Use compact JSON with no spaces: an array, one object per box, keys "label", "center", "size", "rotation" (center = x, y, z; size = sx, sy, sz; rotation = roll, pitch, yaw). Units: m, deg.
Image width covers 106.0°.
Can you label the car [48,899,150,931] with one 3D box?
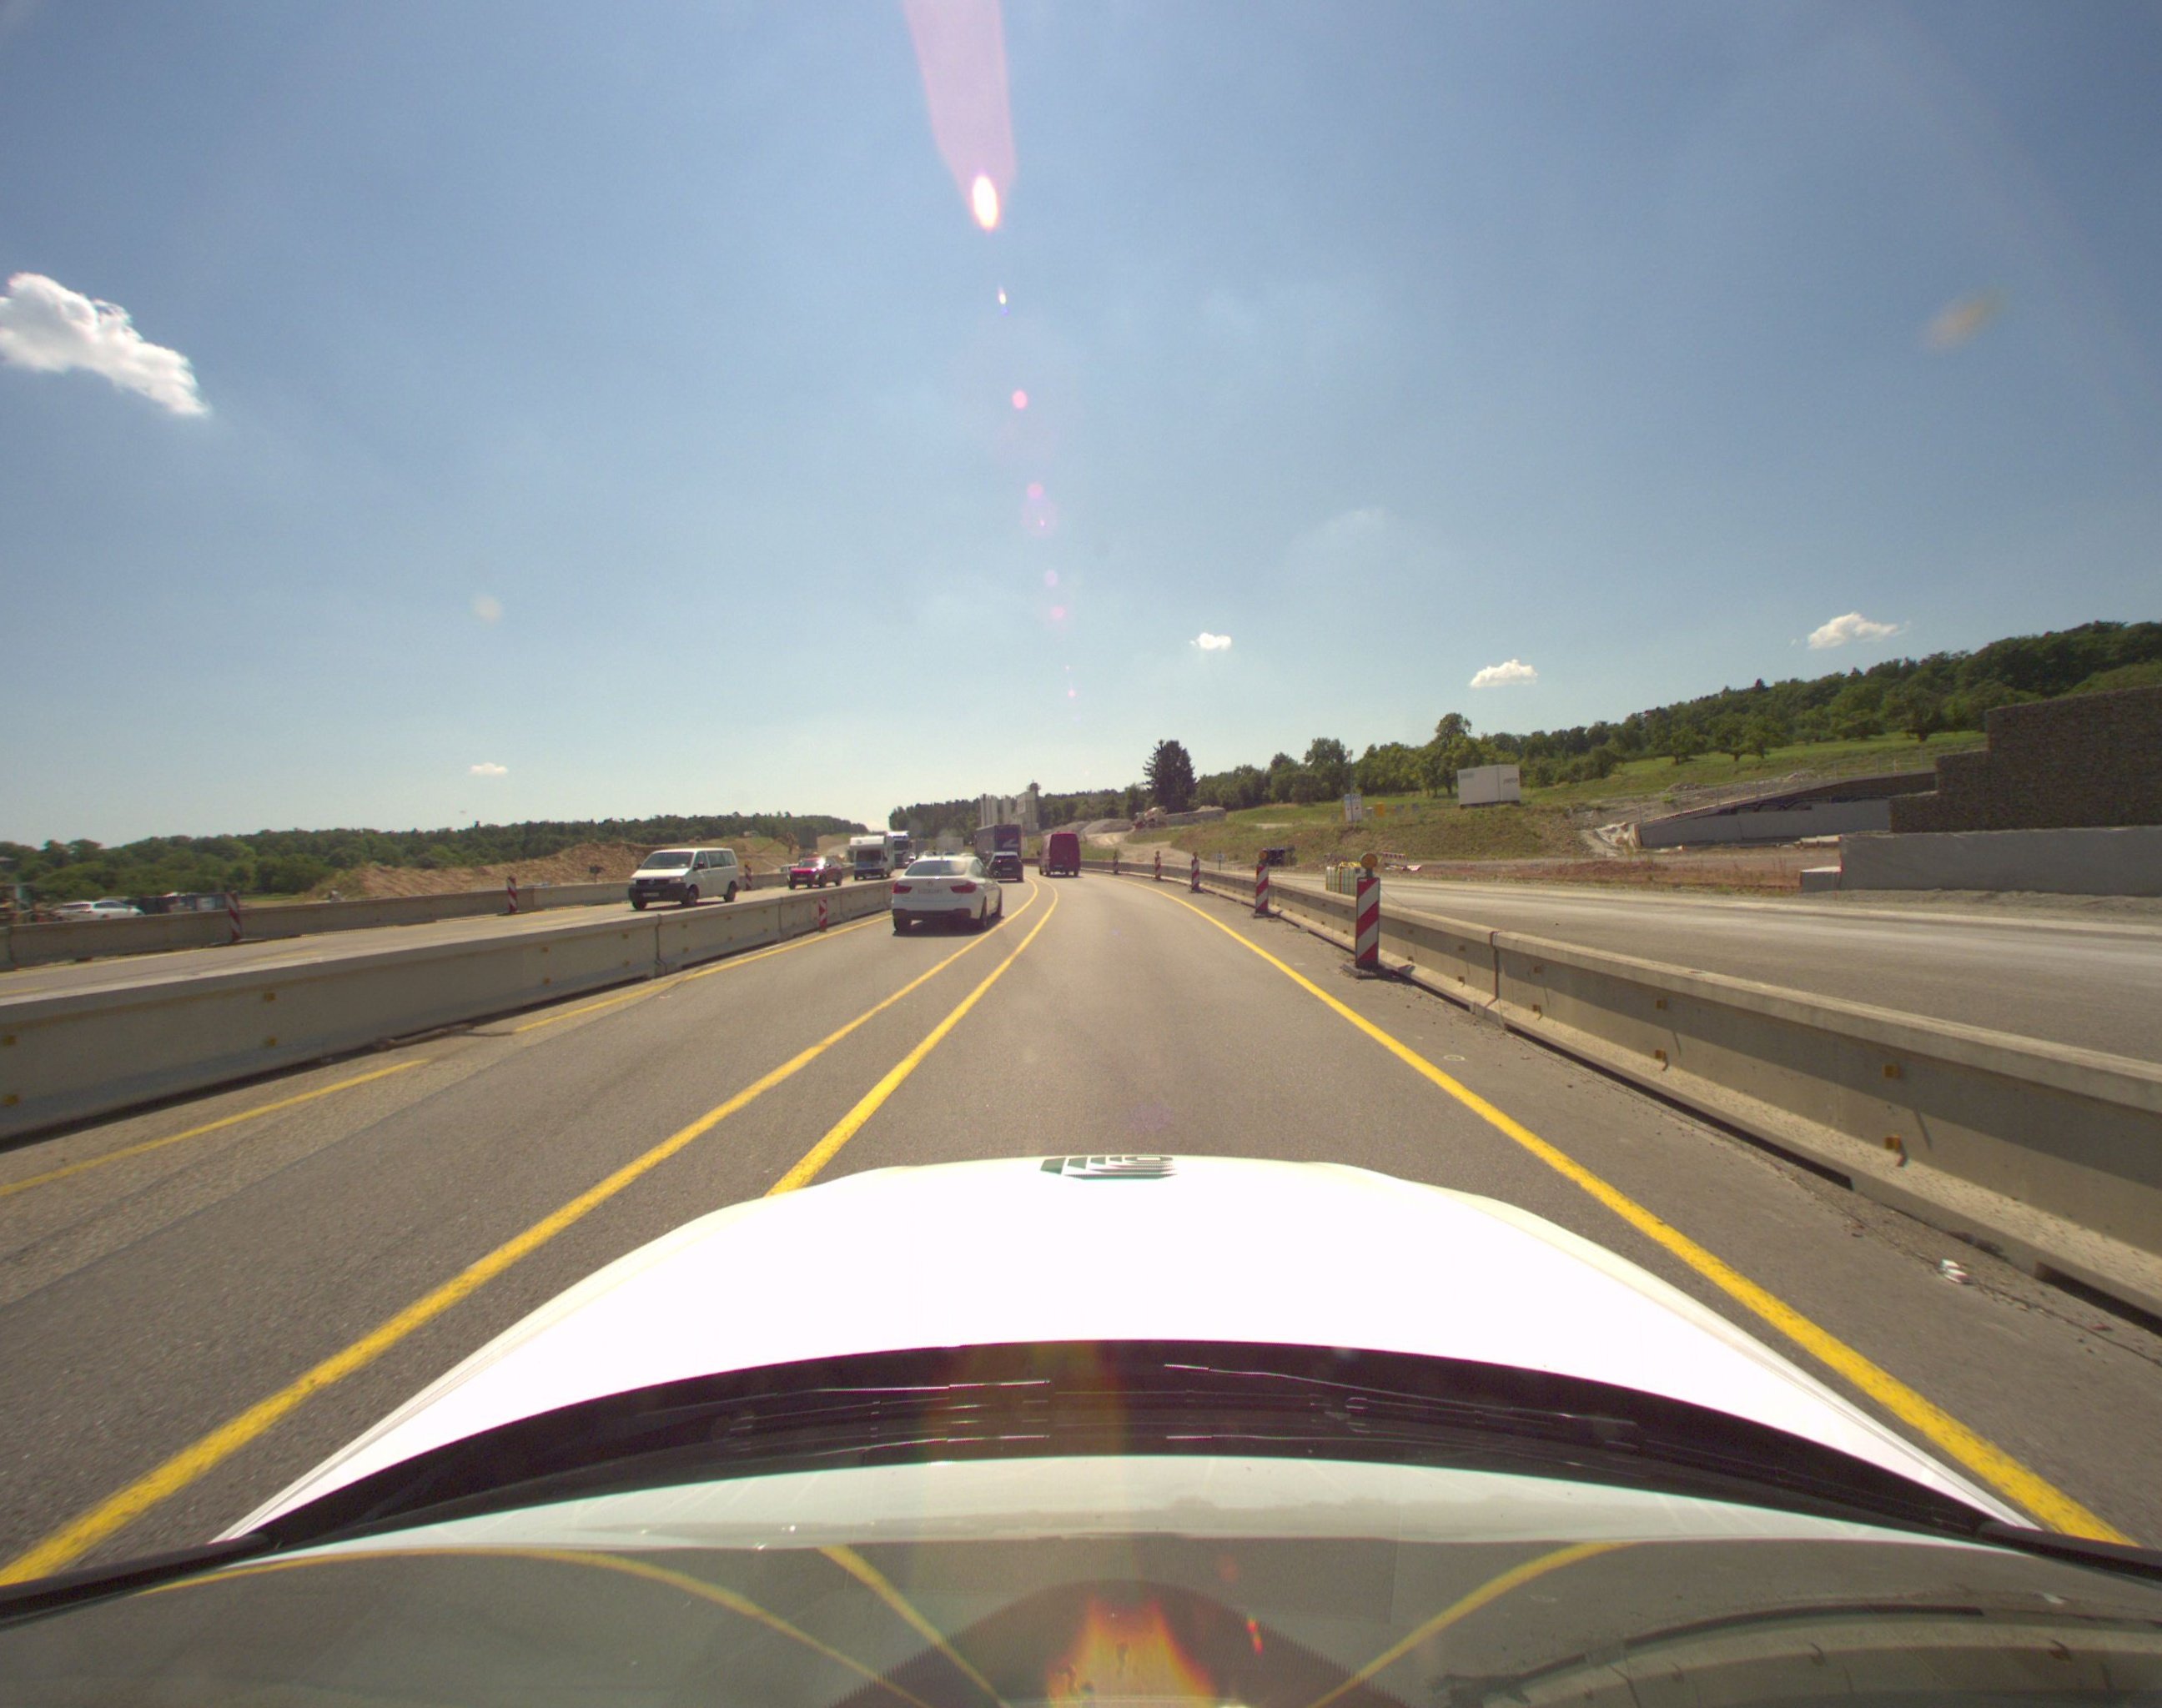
[{"label":"car","center":[-56.253,3.476,46.771],"size":[1.616,1.409,4.418],"rotation":[-3,1,-19]}]

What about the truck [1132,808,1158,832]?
[{"label":"truck","center":[11.610,-6.100,147.949],"size":[2.759,4.095,4.066],"rotation":[-3,1,-25]}]

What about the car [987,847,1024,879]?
[{"label":"car","center":[-3.990,0.429,43.623],"size":[1.791,1.534,3.926],"rotation":[-3,1,-4]}]

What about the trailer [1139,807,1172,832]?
[{"label":"trailer","center":[13.185,-6.144,144.564],"size":[2.770,4.114,6.690],"rotation":[-3,1,-25]}]

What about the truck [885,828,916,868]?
[{"label":"truck","center":[-19.498,-0.669,88.251],"size":[2.700,4.061,5.485],"rotation":[-3,1,-8]}]

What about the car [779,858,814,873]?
[{"label":"car","center":[-30.914,1.224,88.495],"size":[3.219,1.455,1.529],"rotation":[-3,1,-42]}]

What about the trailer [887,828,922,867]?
[{"label":"trailer","center":[-20.484,-0.736,95.205],"size":[2.758,4.114,13.939],"rotation":[-3,1,-8]}]

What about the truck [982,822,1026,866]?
[{"label":"truck","center":[-7.829,-0.977,82.033],"size":[3.021,4.152,8.231],"rotation":[-3,1,-15]}]

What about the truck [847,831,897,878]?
[{"label":"truck","center":[-14.863,0.012,58.384],"size":[2.439,3.071,7.231],"rotation":[-3,1,-7]}]

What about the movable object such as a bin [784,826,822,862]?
[{"label":"movable object such as a bin","center":[-63.645,-2.287,186.567],"size":[7.651,7.713,3.428],"rotation":[-3,1,-15]}]

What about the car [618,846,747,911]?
[{"label":"car","center":[-13.468,0.746,27.894],"size":[1.859,1.953,4.893],"rotation":[-3,1,1]}]

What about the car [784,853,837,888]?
[{"label":"car","center":[-13.917,0.801,42.107],"size":[1.719,1.627,4.325],"rotation":[-3,1,-8]}]

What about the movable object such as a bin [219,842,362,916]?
[{"label":"movable object such as a bin","center":[-36.414,1.055,37.680],"size":[1.982,3.140,4.287],"rotation":[-2,1,8]}]

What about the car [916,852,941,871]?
[{"label":"car","center":[-13.966,0.677,74.908],"size":[1.657,1.605,4.391],"rotation":[-3,1,-3]}]

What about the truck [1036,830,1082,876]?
[{"label":"truck","center":[-1.489,-0.059,51.526],"size":[2.110,2.633,6.466],"rotation":[-3,1,-8]}]

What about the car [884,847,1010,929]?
[{"label":"car","center":[-2.758,0.621,17.992],"size":[1.788,1.534,5.075],"rotation":[0,1,2]}]

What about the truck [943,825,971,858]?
[{"label":"truck","center":[-19.149,-1.924,125.116],"size":[3.686,4.691,9.714],"rotation":[-3,1,-11]}]

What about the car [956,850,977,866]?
[{"label":"car","center":[-11.819,0.377,83.803],"size":[1.804,1.579,3.982],"rotation":[-3,1,-13]}]
